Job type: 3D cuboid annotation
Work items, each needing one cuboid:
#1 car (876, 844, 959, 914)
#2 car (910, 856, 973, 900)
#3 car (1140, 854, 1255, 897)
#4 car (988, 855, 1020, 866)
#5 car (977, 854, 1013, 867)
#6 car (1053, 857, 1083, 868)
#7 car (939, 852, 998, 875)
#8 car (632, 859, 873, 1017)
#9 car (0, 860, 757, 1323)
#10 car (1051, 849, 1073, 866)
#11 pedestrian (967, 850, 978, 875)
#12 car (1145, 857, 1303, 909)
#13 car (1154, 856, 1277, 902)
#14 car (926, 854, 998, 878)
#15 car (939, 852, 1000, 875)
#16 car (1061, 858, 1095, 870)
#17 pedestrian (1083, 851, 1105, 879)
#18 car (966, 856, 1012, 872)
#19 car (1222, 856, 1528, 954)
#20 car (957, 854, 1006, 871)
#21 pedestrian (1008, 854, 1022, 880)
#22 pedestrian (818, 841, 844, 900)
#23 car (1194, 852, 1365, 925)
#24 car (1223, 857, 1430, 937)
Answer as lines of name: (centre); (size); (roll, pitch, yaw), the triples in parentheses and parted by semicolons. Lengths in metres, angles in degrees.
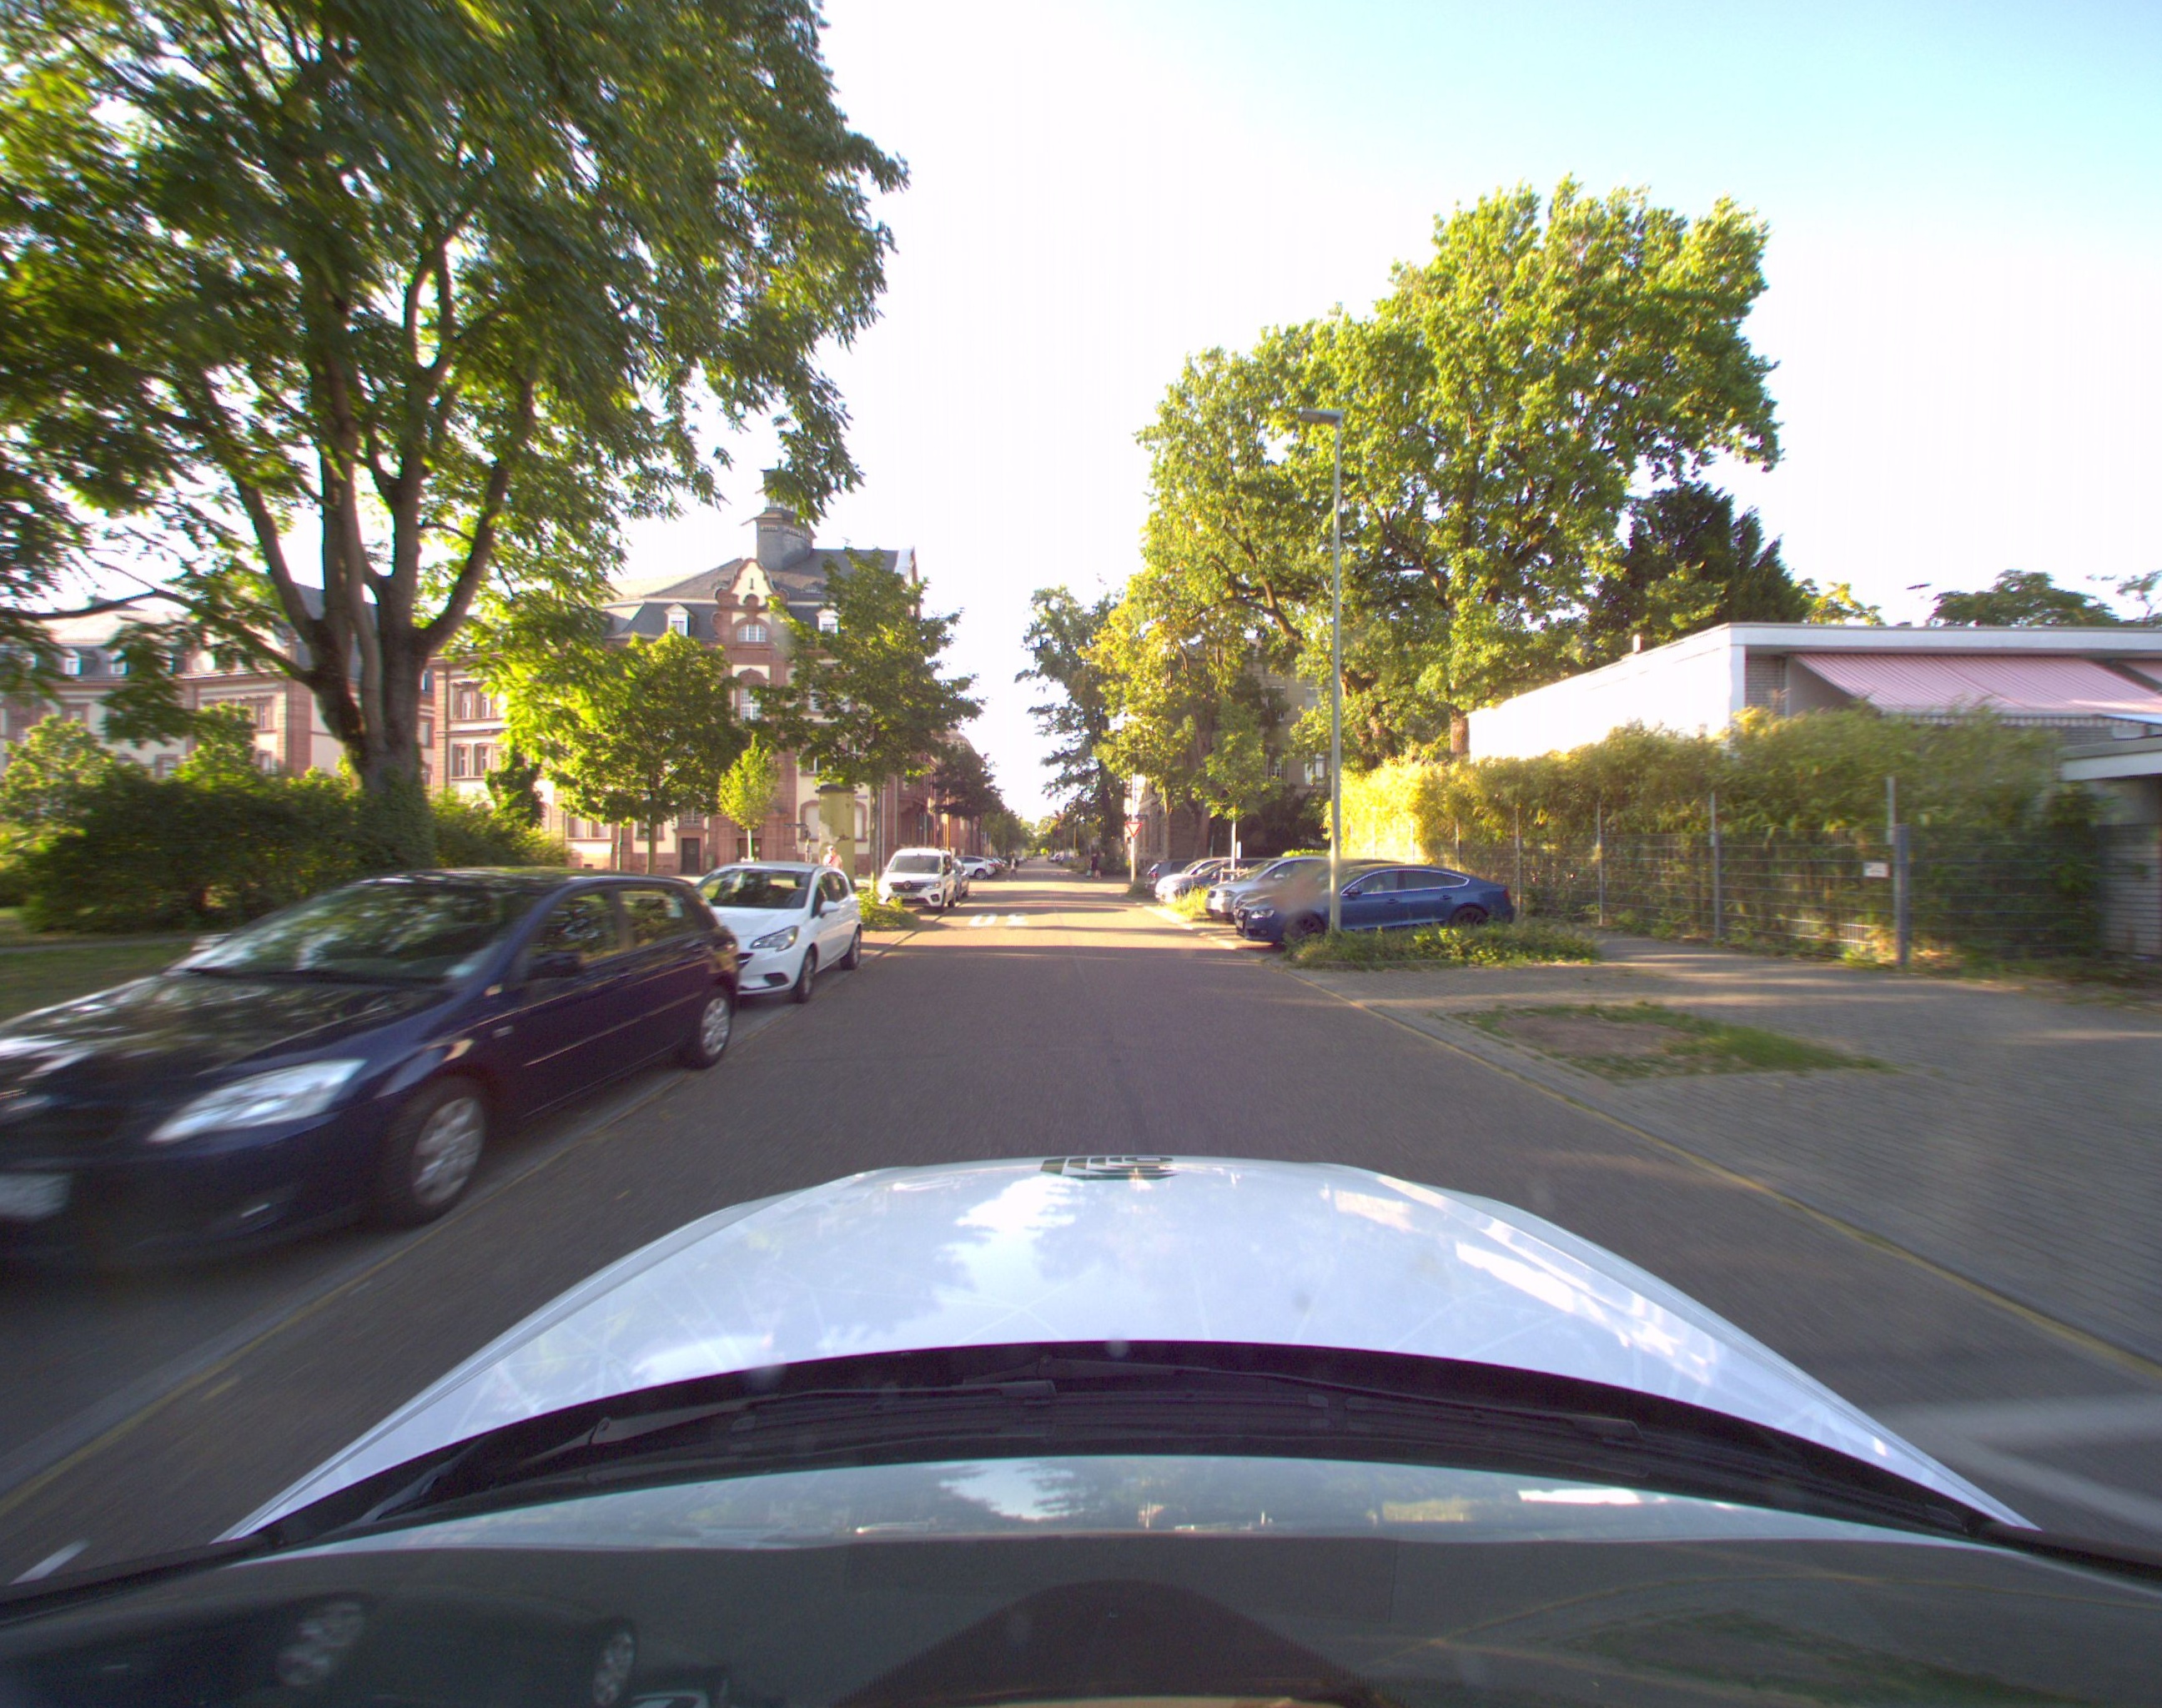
car: (-4.671, 0.665, 23.915); (1.777, 1.841, 4.547); (0, 0, -4)
car: (-5.162, 0.855, 30.726); (1.777, 1.505, 4.548); (0, 0, -3)
car: (4.269, 0.820, 30.222); (3.944, 1.517, 1.872); (0, -2, -2)
car: (-11.067, 0.913, 117.500); (4.476, 1.608, 1.839); (0, 0, -6)
car: (-10.915, 0.864, 103.638); (4.476, 1.608, 1.839); (0, 0, -6)
car: (-2.043, 1.324, 126.870); (4.576, 1.608, 1.839); (0, 0, -6)
car: (-8.696, 0.746, 63.261); (4.476, 1.717, 1.839); (0, 0, -6)
car: (-3.718, 0.833, 9.951); (1.589, 1.526, 3.860); (0, 0, -4)
car: (-3.436, 0.799, 4.656); (1.546, 1.494, 3.942); (0, 0, 0)
car: (-4.343, 0.793, 182.854); (4.877, 3.618, 1.839); (0, -1, -4)
pedestrian: (-8.655, 0.704, 65.097); (0.785, 1.962, 0.718); (0, -2, -11)
car: (4.345, 0.861, 25.092); (4.485, 1.549, 1.887); (0, 0, -6)
car: (4.507, 0.825, 27.660); (3.941, 1.516, 1.674); (0, 0, -1)
car: (-8.224, 0.835, 56.576); (4.835, 1.594, 1.839); (0, 0, -6)
car: (-8.321, 0.711, 61.118); (4.476, 1.717, 1.839); (0, 0, -6)
car: (-0.391, 1.314, 109.923); (4.476, 1.608, 1.839); (0, 0, -6)
pedestrian: (0.863, 0.714, 54.938); (1.068, 1.858, 0.991); (1, -1, -35)
car: (-9.227, 0.979, 82.070); (4.476, 1.608, 1.839); (0, 0, -6)
car: (4.922, 0.837, 14.099); (4.577, 1.415, 1.921); (-2, -1, -2)
car: (-9.270, 0.793, 76.205); (4.476, 1.608, 1.839); (0, 0, -6)
pedestrian: (-4.102, 0.828, 50.636); (0.784, 1.606, 0.718); (0, -2, -9)
pedestrian: (-7.702, 0.500, 25.117); (0.598, 1.784, 0.944); (0, 0, -6)
car: (4.571, 0.760, 18.939); (3.497, 1.584, 1.754); (0, 0, -13)
car: (4.946, 0.827, 16.679); (3.677, 1.524, 1.787); (0, 0, -7)
